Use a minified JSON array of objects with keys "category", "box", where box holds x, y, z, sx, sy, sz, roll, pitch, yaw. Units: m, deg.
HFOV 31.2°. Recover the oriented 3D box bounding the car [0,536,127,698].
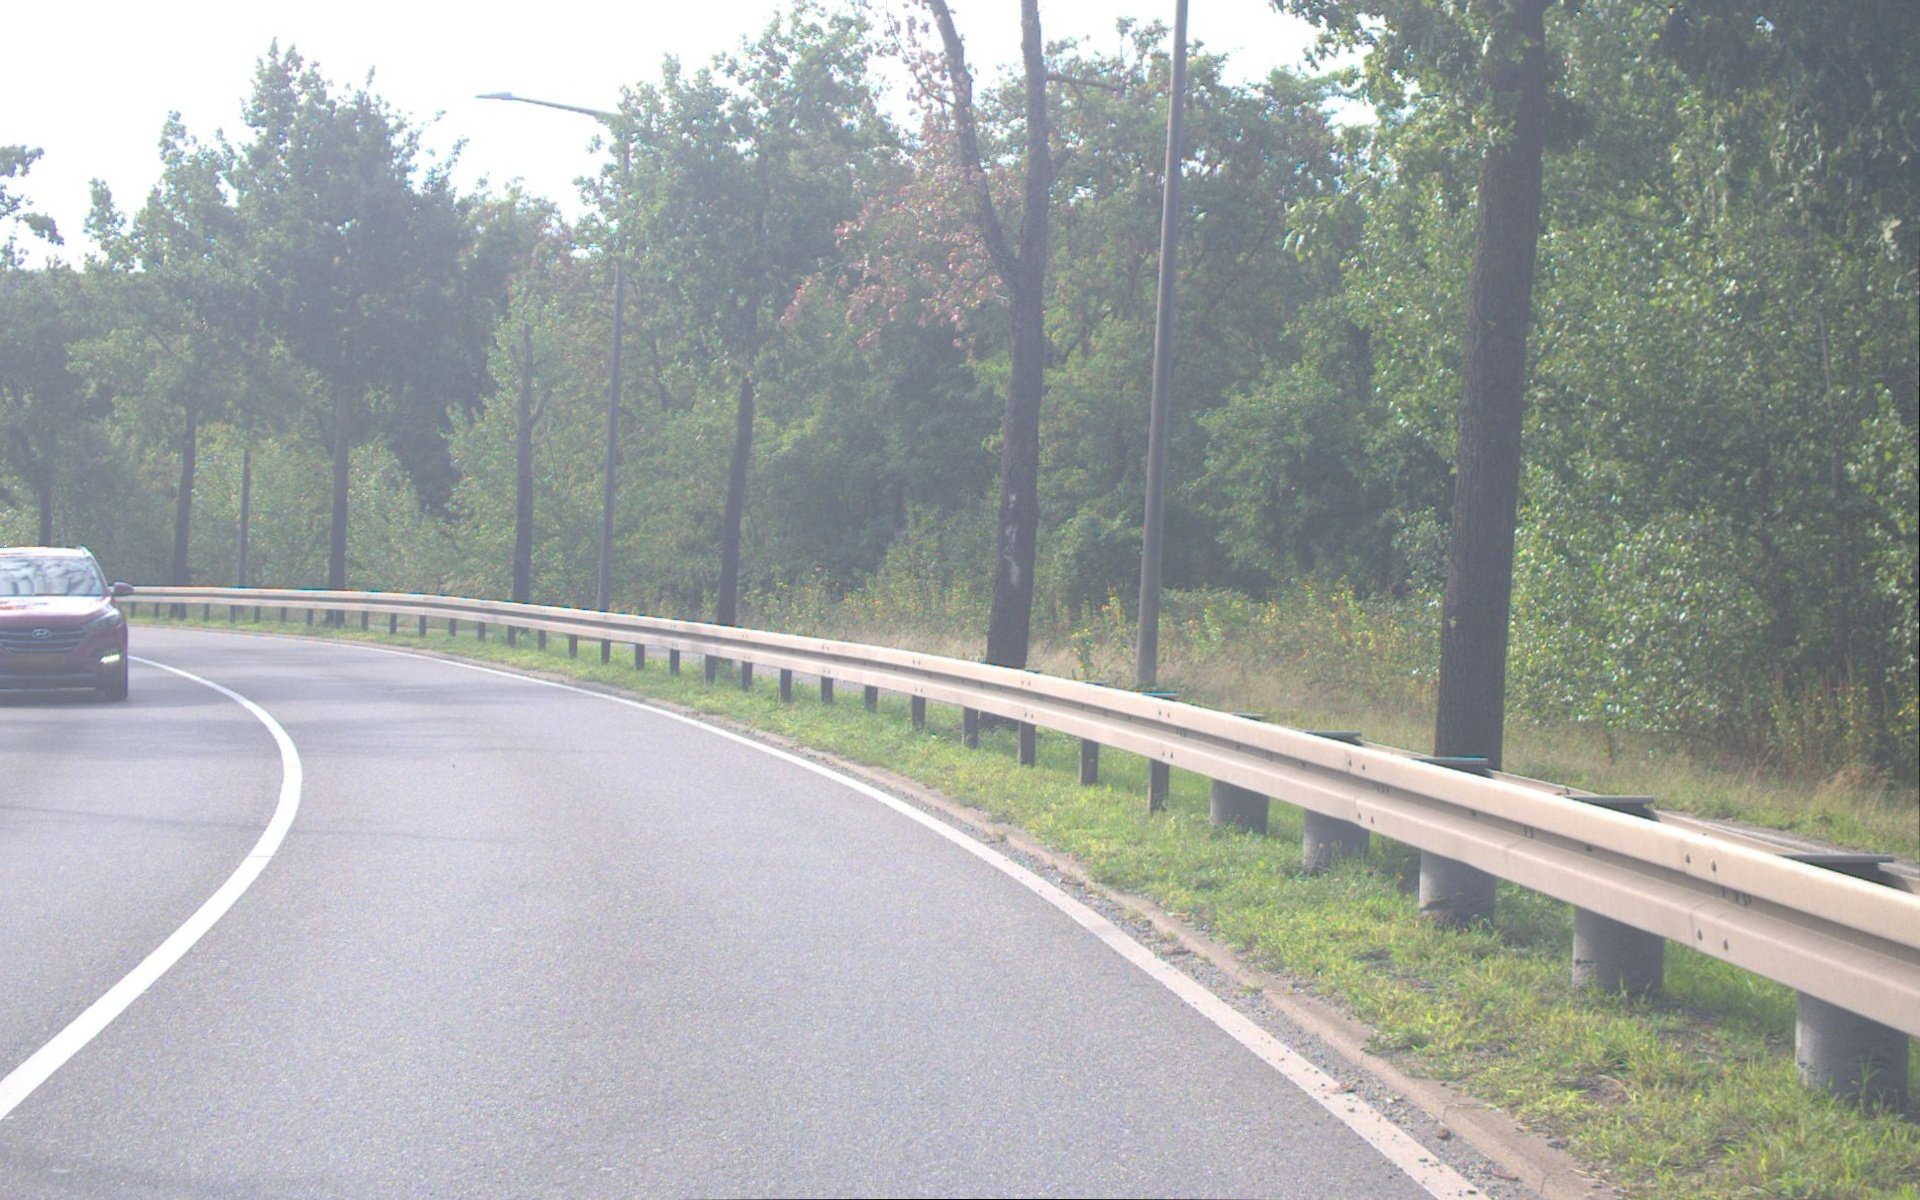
[{"category":"car","box":[-10.120,0.142,37.687,1.808,1.668,4.299,0,1,-15]}]
